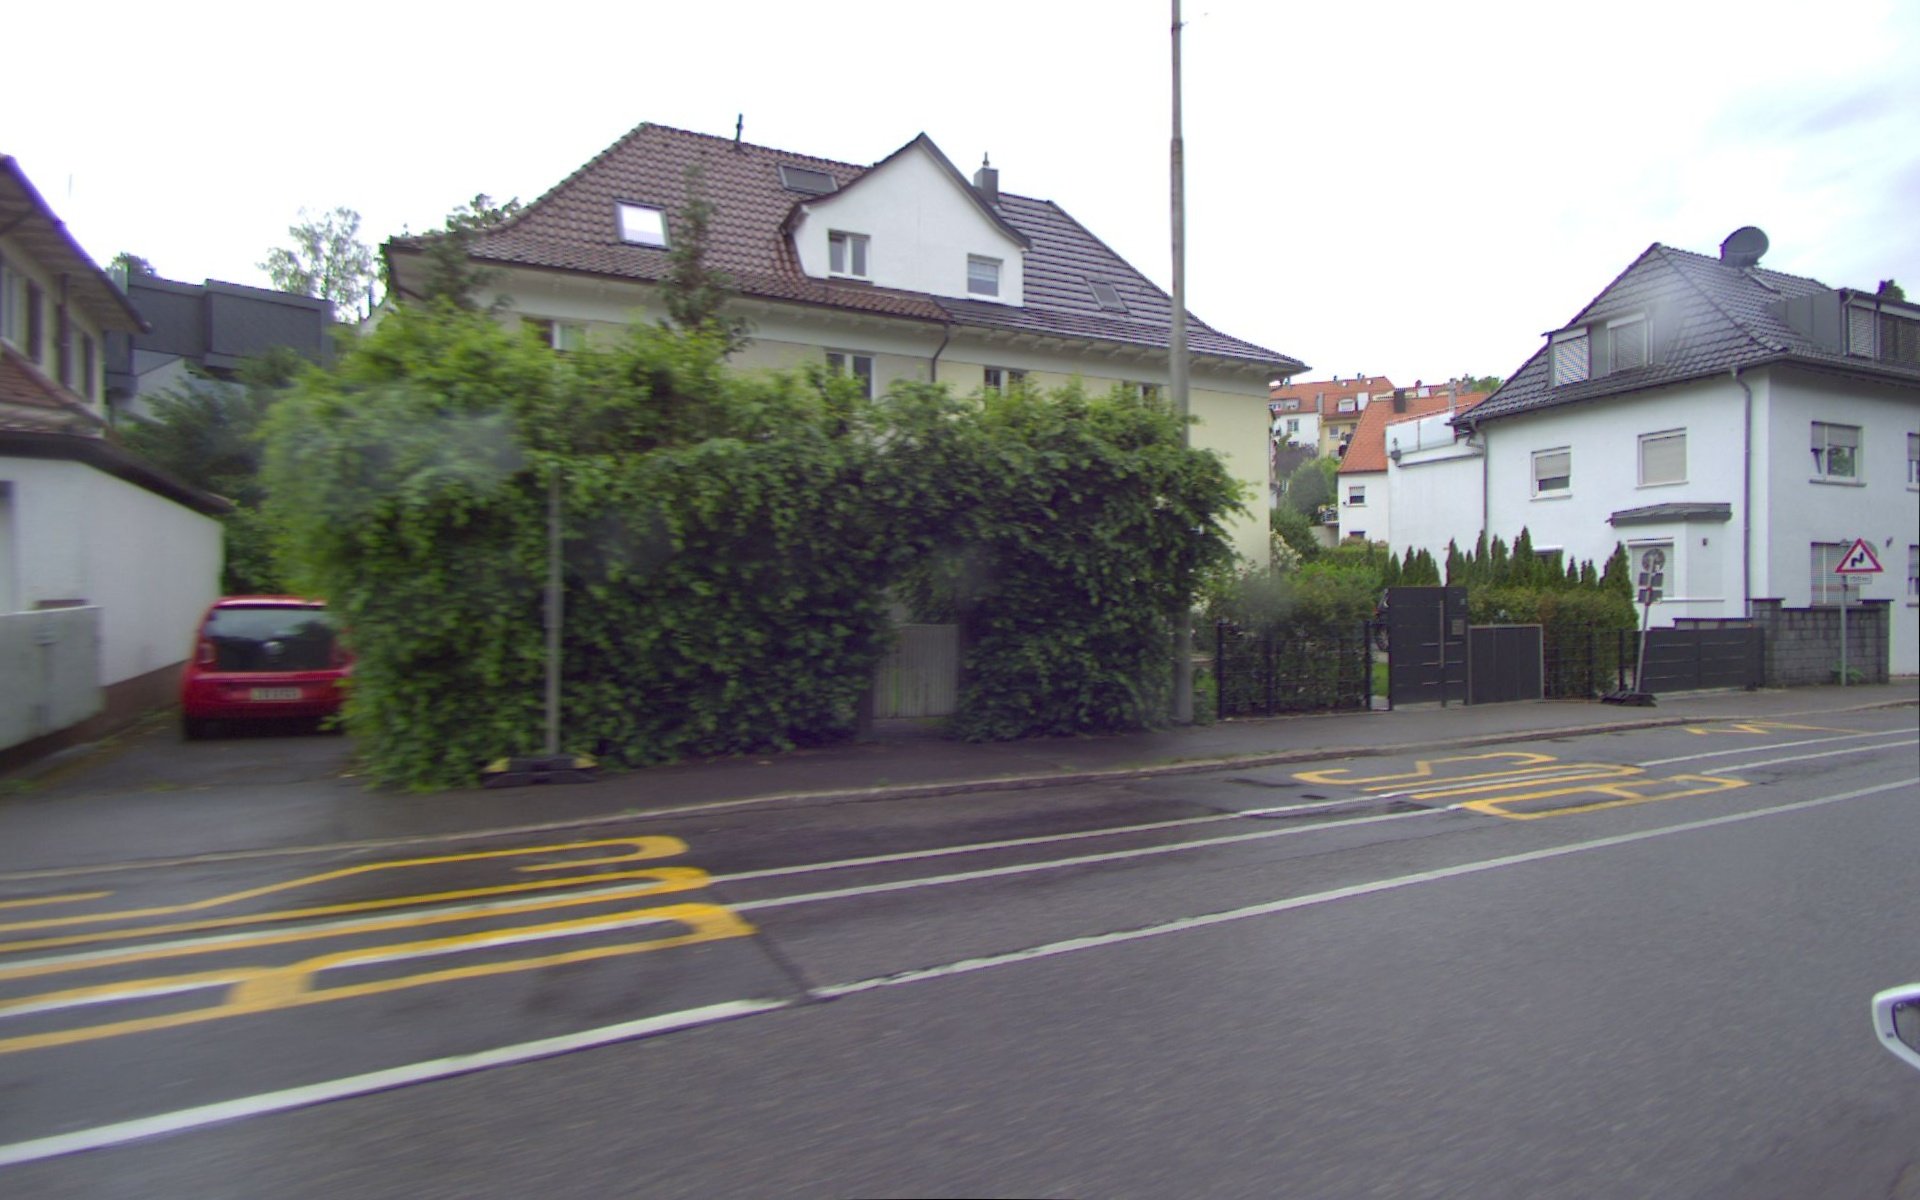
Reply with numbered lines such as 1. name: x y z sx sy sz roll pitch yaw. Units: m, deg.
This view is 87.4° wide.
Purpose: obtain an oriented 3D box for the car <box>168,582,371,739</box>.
1. car: -7.942 0.602 11.842 1.615 1.442 3.626 3 1 -30

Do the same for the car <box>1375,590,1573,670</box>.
1. car: 12.338 0.668 24.369 1.713 1.617 3.971 3 1 -28
